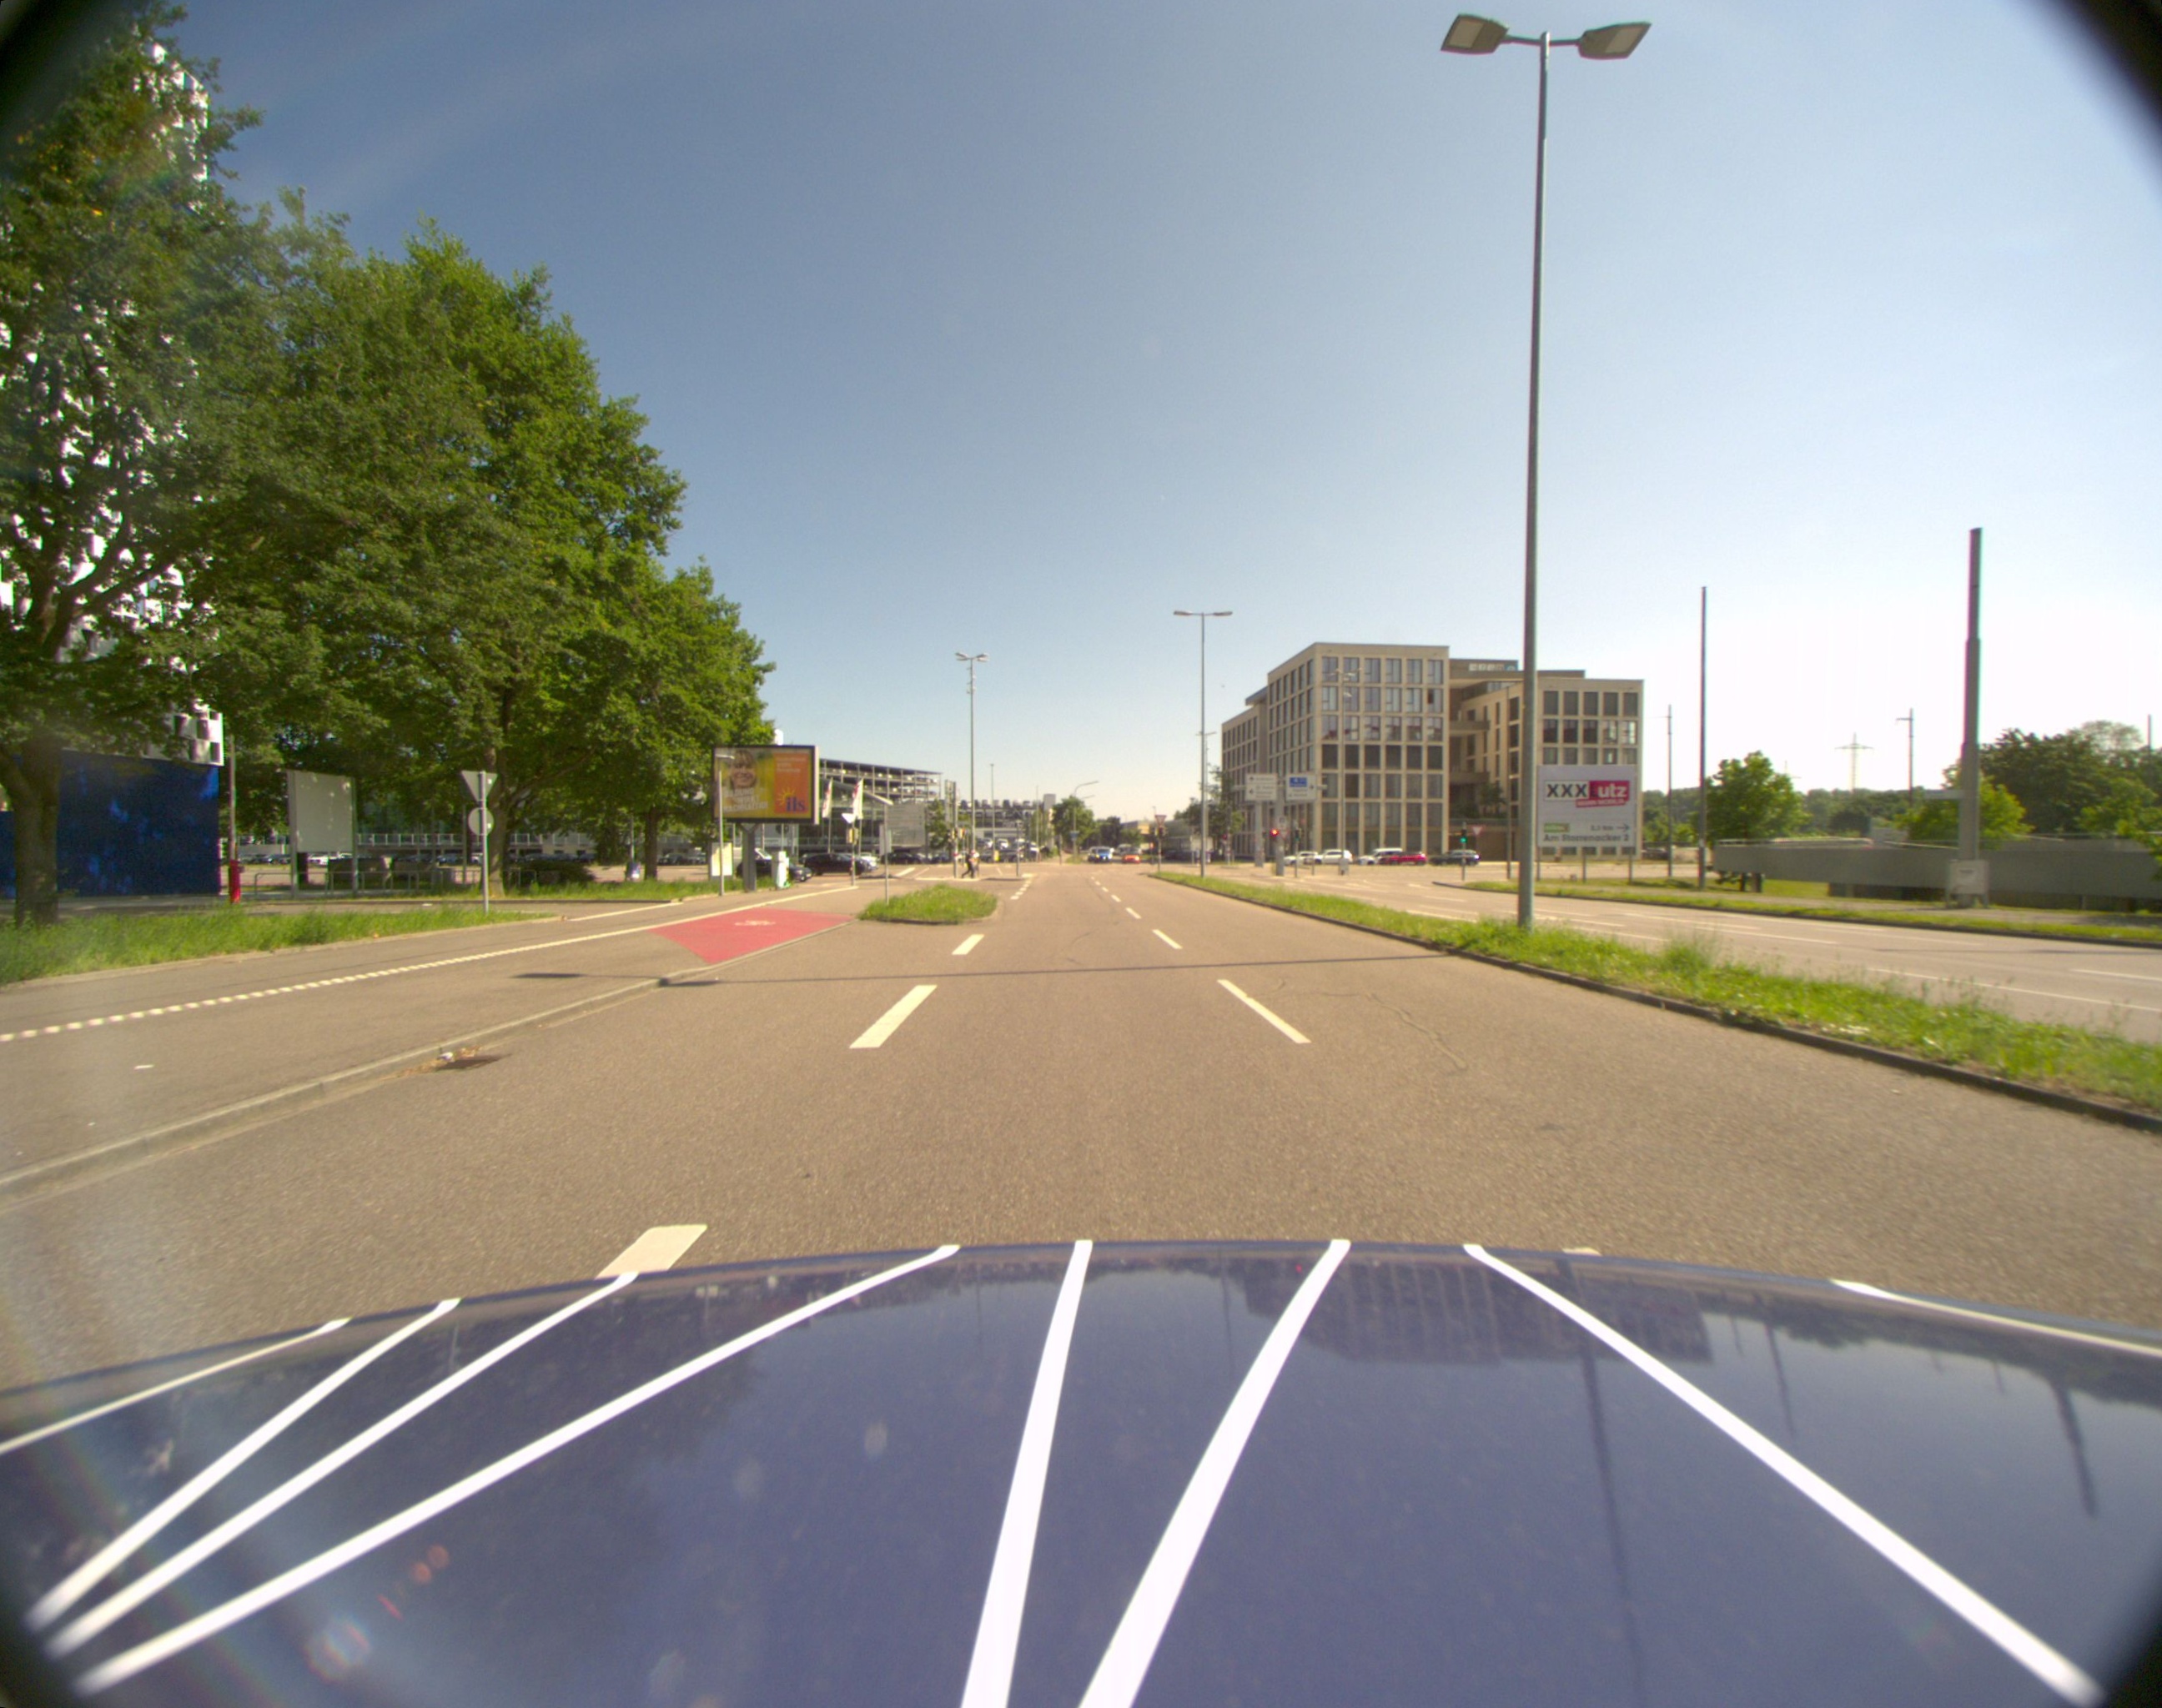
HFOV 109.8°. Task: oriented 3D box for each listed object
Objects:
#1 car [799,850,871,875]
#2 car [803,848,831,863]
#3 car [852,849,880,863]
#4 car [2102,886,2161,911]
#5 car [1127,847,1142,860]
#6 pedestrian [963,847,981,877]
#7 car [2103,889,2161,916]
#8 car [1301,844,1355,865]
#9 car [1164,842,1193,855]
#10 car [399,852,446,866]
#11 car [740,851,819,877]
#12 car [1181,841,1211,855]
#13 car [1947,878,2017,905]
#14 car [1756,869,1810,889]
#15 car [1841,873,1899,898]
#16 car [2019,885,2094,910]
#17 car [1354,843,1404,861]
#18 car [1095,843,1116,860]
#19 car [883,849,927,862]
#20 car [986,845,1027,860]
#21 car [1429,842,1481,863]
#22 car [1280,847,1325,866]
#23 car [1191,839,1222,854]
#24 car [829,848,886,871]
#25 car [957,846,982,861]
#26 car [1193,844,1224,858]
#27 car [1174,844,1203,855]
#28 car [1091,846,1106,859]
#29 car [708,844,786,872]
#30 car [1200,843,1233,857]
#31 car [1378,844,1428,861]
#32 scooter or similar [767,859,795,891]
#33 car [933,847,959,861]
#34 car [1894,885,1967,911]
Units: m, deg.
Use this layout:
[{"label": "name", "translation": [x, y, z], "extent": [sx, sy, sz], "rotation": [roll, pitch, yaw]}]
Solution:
[{"label": "car", "translation": [-17.416, 0.588, 53.961], "extent": [4.502, 1.618, 1.714], "rotation": [-2, 2, -6]}, {"label": "car", "translation": [-27.444, 0.135, 79.095], "extent": [1.888, 1.537, 3.885], "rotation": [0, 1, -6]}, {"label": "car", "translation": [-22.542, 0.169, 79.941], "extent": [2.004, 1.414, 4.112], "rotation": [0, 1, -4]}, {"label": "car", "translation": [30.759, 1.268, 21.923], "extent": [1.564, 0.617, 0.857], "rotation": [-1, 2, -7]}, {"label": "car", "translation": [6.137, -0.065, 87.125], "extent": [1.738, 1.356, 3.866], "rotation": [0, 1, 5]}, {"label": "pedestrian", "translation": [-6.583, 0.489, 46.000], "extent": [0.705, 1.770, 0.961], "rotation": [1, 1, 21]}, {"label": "car", "translation": [41.514, 1.888, 29.719], "extent": [1.942, 0.970, 0.886], "rotation": [-1, 2, -4]}, {"label": "car", "translation": [22.976, 0.048, 70.678], "extent": [4.311, 1.827, 2.024], "rotation": [-1, 2, -8]}, {"label": "car", "translation": [14.827, -0.884, 115.357], "extent": [3.991, 2.002, 2.002], "rotation": [0, 1, 17]}, {"label": "car", "translation": [-65.612, 0.488, 75.728], "extent": [1.594, 1.242, 3.417], "rotation": [0, 1, 3]}, {"label": "car", "translation": [-18.723, 0.600, 47.222], "extent": [4.231, 1.456, 1.773], "rotation": [-1, 3, 12]}, {"label": "car", "translation": [16.486, -0.916, 108.688], "extent": [3.992, 2.002, 2.002], "rotation": [0, 1, 16]}, {"label": "car", "translation": [35.185, 1.456, 29.671], "extent": [1.848, 0.970, 0.865], "rotation": [-1, 2, -7]}, {"label": "car", "translation": [34.774, 1.242, 37.668], "extent": [1.943, 0.969, 0.890], "rotation": [-1, -2, -7]}, {"label": "car", "translation": [30.316, 1.203, 29.211], "extent": [1.505, 0.877, 0.791], "rotation": [-1, 2, -7]}, {"label": "car", "translation": [41.364, 1.828, 32.248], "extent": [1.943, 0.970, 1.070], "rotation": [0, 1, -5]}, {"label": "car", "translation": [29.135, -0.169, 74.363], "extent": [4.230, 1.701, 1.903], "rotation": [0, 1, -6]}, {"label": "car", "translation": [2.814, -0.283, 87.276], "extent": [2.185, 1.898, 4.731], "rotation": [0, 1, 5]}, {"label": "car", "translation": [-18.702, 0.114, 80.847], "extent": [4.350, 1.342, 1.820], "rotation": [0, 1, -6]}, {"label": "car", "translation": [-8.354, -0.177, 85.816], "extent": [4.480, 1.578, 1.979], "rotation": [0, 1, -3]}, {"label": "car", "translation": [36.681, -0.163, 74.593], "extent": [4.241, 1.878, 1.833], "rotation": [-1, 2, -3]}, {"label": "car", "translation": [21.470, 0.216, 73.708], "extent": [3.766, 1.703, 1.832], "rotation": [-1, 2, -9]}, {"label": "car", "translation": [17.441, -1.017, 105.580], "extent": [3.991, 2.002, 2.002], "rotation": [0, 1, 17]}, {"label": "car", "translation": [-17.119, 0.403, 58.249], "extent": [3.827, 1.604, 1.759], "rotation": [-1, 2, 2]}, {"label": "car", "translation": [-11.849, -0.100, 80.888], "extent": [1.887, 1.452, 3.999], "rotation": [-1, 2, 1]}, {"label": "car", "translation": [17.082, -0.455, 101.750], "extent": [3.991, 1.816, 2.002], "rotation": [0, 1, 17]}, {"label": "car", "translation": [15.904, -0.632, 112.591], "extent": [3.991, 1.605, 2.002], "rotation": [0, 1, 17]}, {"label": "car", "translation": [2.114, -0.219, 93.267], "extent": [1.667, 1.548, 3.853], "rotation": [-1, 2, -2]}, {"label": "car", "translation": [-24.997, 0.297, 57.039], "extent": [4.999, 1.996, 1.739], "rotation": [0, 2, -6]}, {"label": "car", "translation": [17.463, -0.519, 97.755], "extent": [3.995, 1.729, 2.000], "rotation": [2, 2, 6]}, {"label": "car", "translation": [30.110, -0.166, 71.073], "extent": [4.119, 1.519, 1.530], "rotation": [0, 1, -6]}, {"label": "scooter or similar", "translation": [-11.797, 0.816, 29.909], "extent": [0.402, 1.160, 1.185], "rotation": [0, 2, 13]}, {"label": "car", "translation": [-14.286, -0.049, 80.550], "extent": [1.998, 1.452, 4.000], "rotation": [0, 1, 1]}, {"label": "car", "translation": [35.281, 1.818, 31.579], "extent": [1.943, 1.002, 1.071], "rotation": [0, 0, -5]}]
